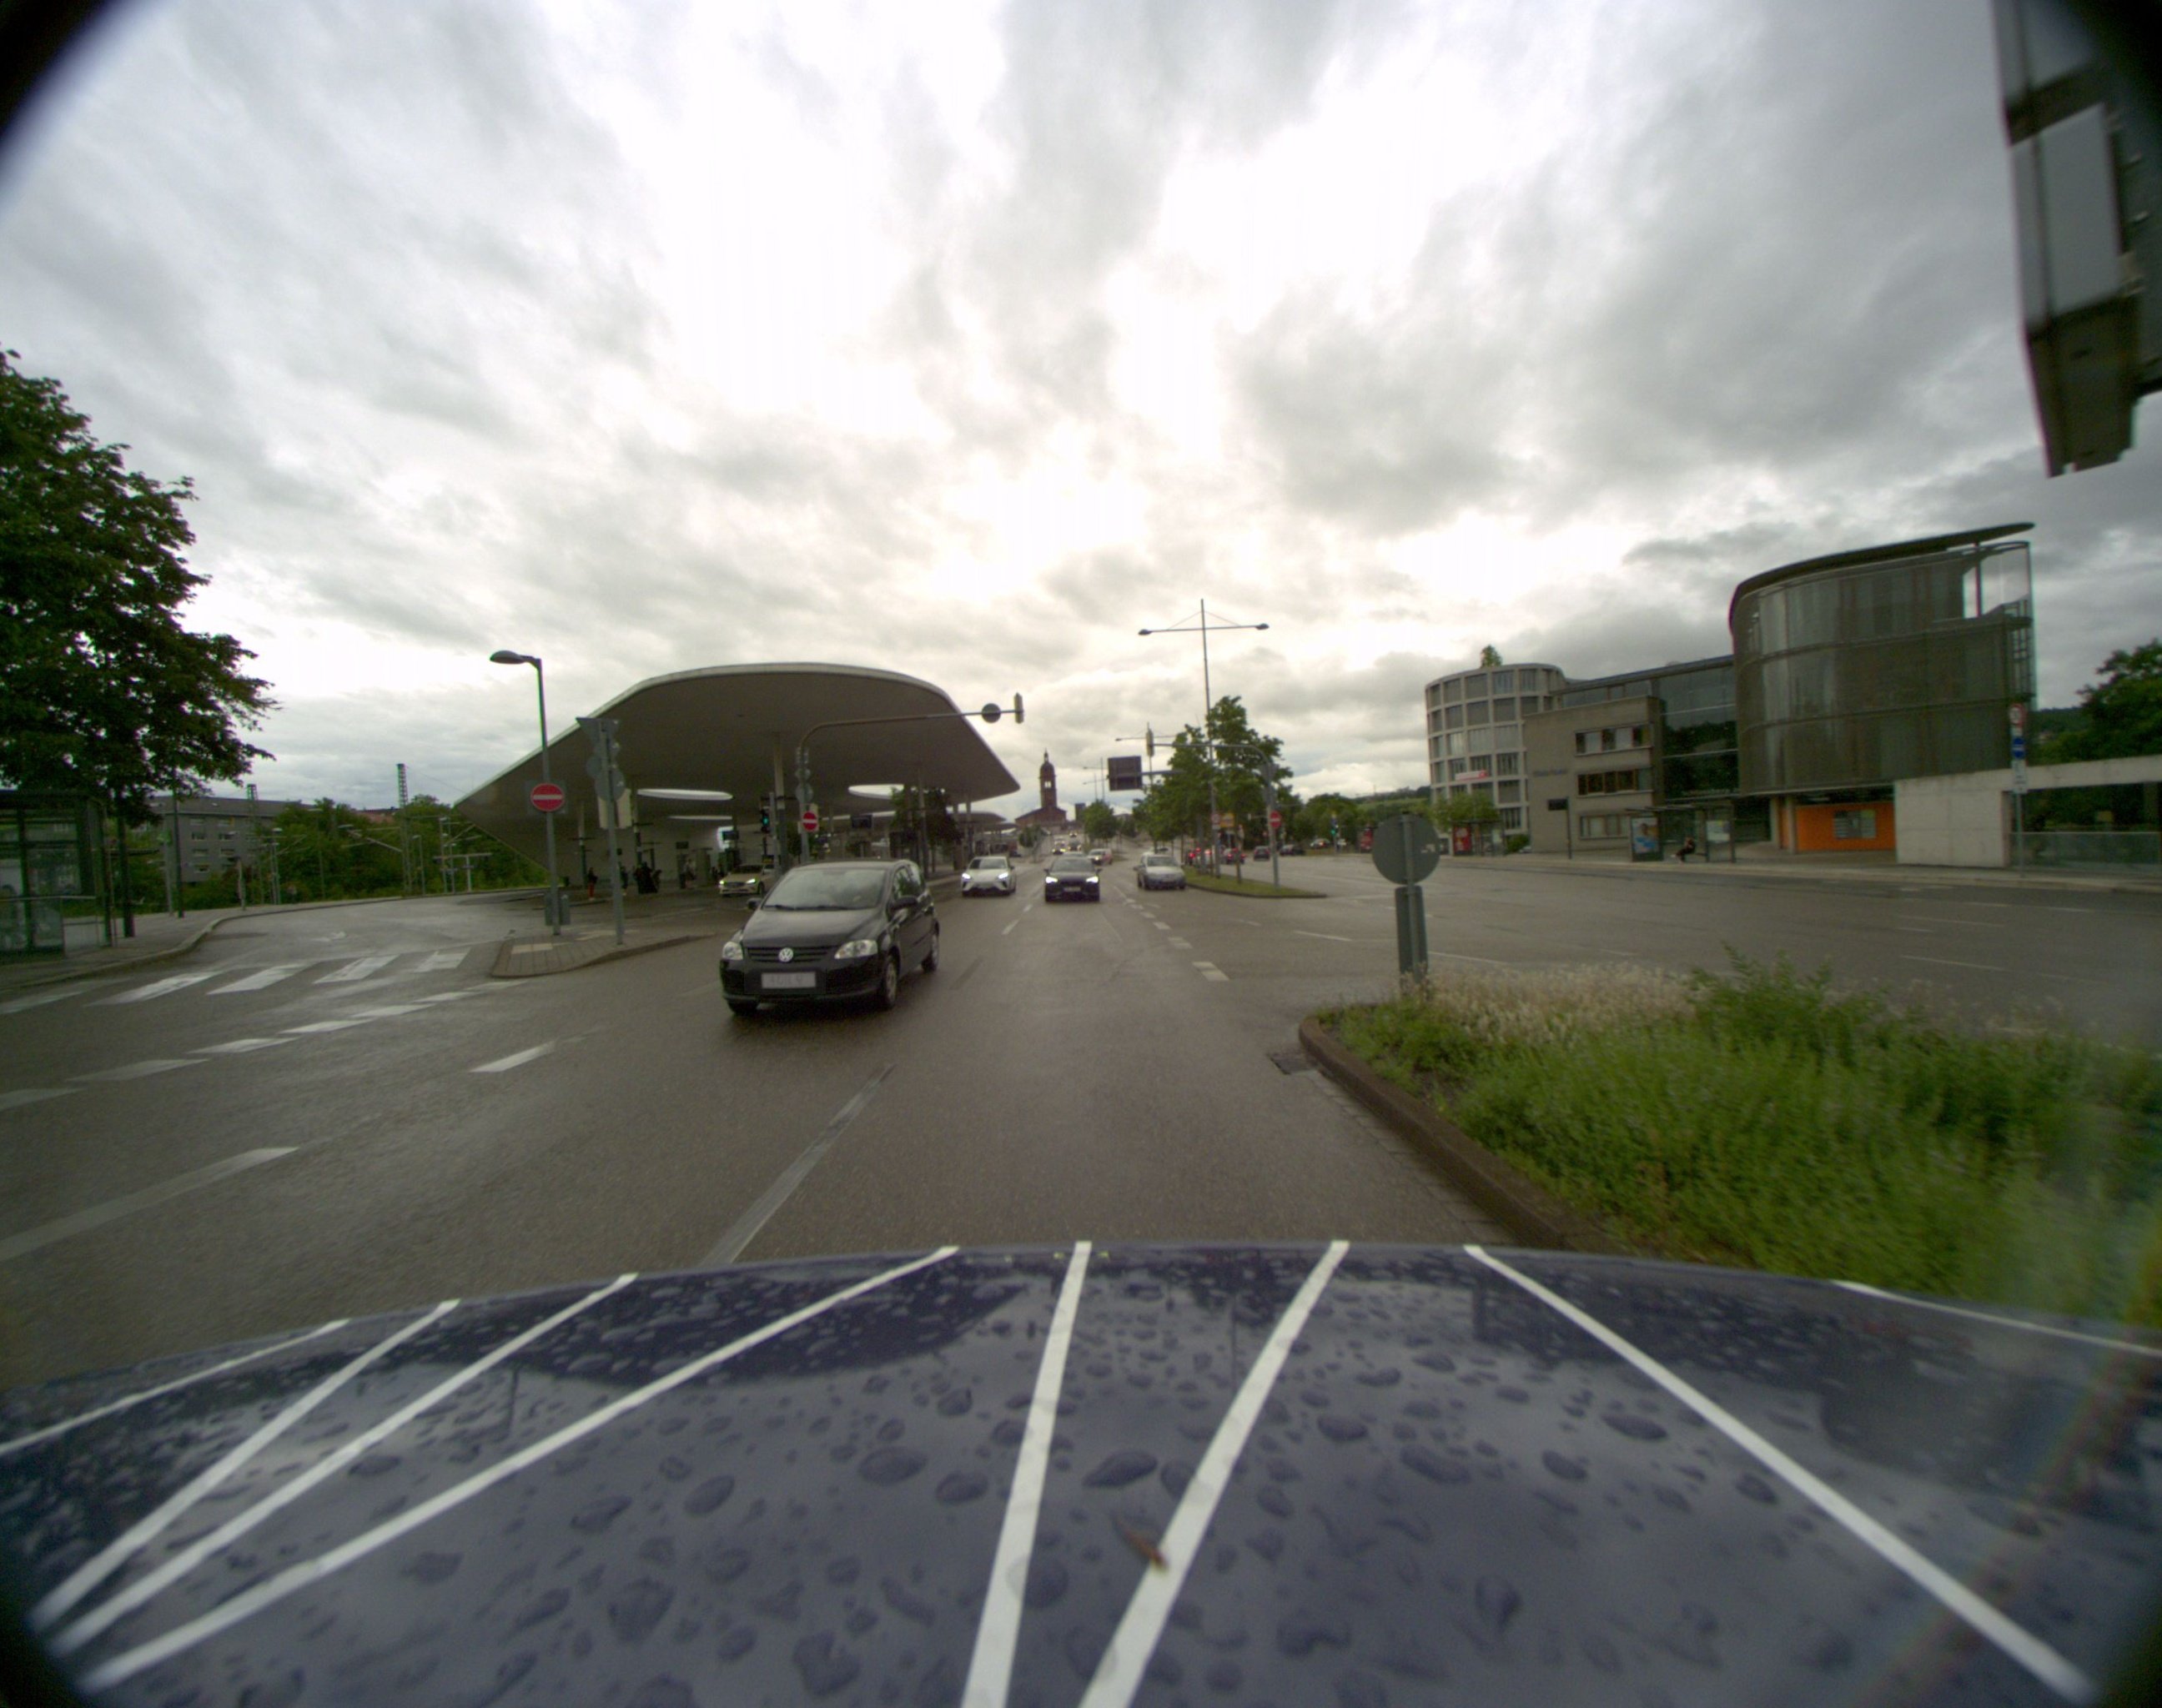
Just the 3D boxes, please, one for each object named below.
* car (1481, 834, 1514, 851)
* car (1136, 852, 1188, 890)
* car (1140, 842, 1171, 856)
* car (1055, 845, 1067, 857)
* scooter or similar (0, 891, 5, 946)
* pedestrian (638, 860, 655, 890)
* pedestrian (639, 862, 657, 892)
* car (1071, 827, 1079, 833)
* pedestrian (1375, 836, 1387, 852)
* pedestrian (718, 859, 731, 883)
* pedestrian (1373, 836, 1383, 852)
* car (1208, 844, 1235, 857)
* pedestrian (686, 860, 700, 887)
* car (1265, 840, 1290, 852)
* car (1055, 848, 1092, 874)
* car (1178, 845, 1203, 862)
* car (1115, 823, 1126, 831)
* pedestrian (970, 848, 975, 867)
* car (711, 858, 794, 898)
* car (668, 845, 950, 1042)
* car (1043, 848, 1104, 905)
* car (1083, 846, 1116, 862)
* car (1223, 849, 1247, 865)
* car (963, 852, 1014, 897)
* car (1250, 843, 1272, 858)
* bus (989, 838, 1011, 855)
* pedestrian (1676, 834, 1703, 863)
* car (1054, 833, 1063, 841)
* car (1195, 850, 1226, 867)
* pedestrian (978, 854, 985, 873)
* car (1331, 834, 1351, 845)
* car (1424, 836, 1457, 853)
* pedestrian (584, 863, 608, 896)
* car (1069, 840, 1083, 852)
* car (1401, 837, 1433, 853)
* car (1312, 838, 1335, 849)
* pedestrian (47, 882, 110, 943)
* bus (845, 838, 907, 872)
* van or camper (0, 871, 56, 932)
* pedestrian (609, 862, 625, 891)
[{"bbox_3d":[43.334,-1.242,79.026,4.165,1.692,1.871,-2,2,-45],"label":"car"},{"bbox_3d":[3.352,0.671,32.118,1.699,1.457,3.719,-1,1,-1],"label":"car"},{"bbox_3d":[9.226,-0.677,93.823,1.871,1.625,4.293,0,1,38],"label":"car"},{"bbox_3d":[-3.509,-0.458,131.164,1.999,2.002,3.999,-1,1,-1],"label":"car"},{"bbox_3d":[-22.968,1.387,15.701,0.334,1.175,1.301,-2,2,-33],"label":"scooter or similar"},{"bbox_3d":[-22.268,1.056,38.967,0.534,1.505,0.479,-2,1,5],"label":"pedestrian"},{"bbox_3d":[-21.747,1.159,38.178,0.534,1.505,0.479,-2,1,5],"label":"pedestrian"},{"bbox_3d":[-1.578,-6.446,201.523,1.649,1.552,3.647,-1,1,-5],"label":"car"},{"bbox_3d":[29.258,-0.976,74.178,0.983,1.482,0.735,-1,2,10],"label":"pedestrian"},{"bbox_3d":[-22.167,1.062,47.279,0.478,1.505,0.535,-2,1,4],"label":"pedestrian"},{"bbox_3d":[29.382,-0.995,75.136,0.732,1.482,0.734,-1,2,8],"label":"pedestrian"},{"bbox_3d":[19.206,-0.501,103.834,1.871,1.624,4.166,-1,1,40],"label":"car"},{"bbox_3d":[-22.134,1.130,43.336,0.478,1.505,0.535,-2,1,4],"label":"pedestrian"},{"bbox_3d":[29.316,-1.156,113.445,1.889,1.704,4.226,0,2,40],"label":"car"},{"bbox_3d":[-0.567,0.410,51.747,1.877,1.625,4.297,-1,1,-9],"label":"car"},{"bbox_3d":[10.558,-0.056,73.398,2.009,1.545,4.164,-1,1,3],"label":"car"},{"bbox_3d":[8.545,-5.846,165.143,1.874,1.624,4.159,-1,1,9],"label":"car"},{"bbox_3d":[-10.354,0.321,72.485,0.445,1.754,0.537,-2,1,-7],"label":"pedestrian"},{"bbox_3d":[-15.781,1.107,36.817,1.998,1.671,4.541,-1,1,0],"label":"car"},{"bbox_3d":[-2.780,0.776,8.873,1.876,1.692,4.155,-1,1,-2],"label":"car"},{"bbox_3d":[-0.307,0.682,25.819,1.876,1.692,4.156,-1,1,-2],"label":"car"},{"bbox_3d":[2.037,-0.011,82.173,1.872,1.625,4.164,0,1,29],"label":"car"},{"bbox_3d":[14.894,0.297,73.700,1.698,1.457,4.452,-1,1,3],"label":"car"},{"bbox_3d":[-3.626,0.745,29.736,1.812,1.550,4.046,-1,1,-7],"label":"car"},{"bbox_3d":[19.366,-0.395,81.894,1.681,1.503,3.863,-1,1,3],"label":"car"},{"bbox_3d":[-15.692,-1.497,146.576,3.585,3.080,10.745,-2,1,-9],"label":"bus"},{"bbox_3d":[28.288,-0.257,35.324,0.668,1.292,0.720,-1,1,5],"label":"pedestrian"},{"bbox_3d":[-4.600,-3.500,156.217,1.649,1.552,3.647,-1,1,-5],"label":"car"},{"bbox_3d":[11.172,0.356,66.029,2.010,1.345,4.164,-1,1,0],"label":"car"},{"bbox_3d":[-9.500,0.914,72.632,0.446,1.754,0.536,-2,1,-19],"label":"pedestrian"},{"bbox_3d":[45.493,-2.571,132.856,1.994,1.871,4.008,0,2,38],"label":"car"},{"bbox_3d":[39.158,-1.032,82.748,4.165,1.692,1.871,-2,2,-45],"label":"car"},{"bbox_3d":[-23.878,1.267,37.410,0.641,1.586,0.741,0,2,14],"label":"pedestrian"},{"bbox_3d":[-0.920,-1.438,133.762,1.999,2.002,3.997,-1,1,-5],"label":"car"},{"bbox_3d":[37.453,-1.039,84.587,4.165,1.692,1.871,-2,2,-45],"label":"car"},{"bbox_3d":[37.952,-1.643,118.814,1.889,1.704,4.226,0,2,42],"label":"car"},{"bbox_3d":[-28.539,1.659,21.641,0.721,1.658,0.798,-1,2,10],"label":"pedestrian"},{"bbox_3d":[-20.205,-0.010,75.811,2.876,3.065,11.918,-1,1,0],"label":"bus"},{"bbox_3d":[-45.218,1.997,29.775,1.998,2.419,5.863,-1,1,0],"label":"van or camper"},{"bbox_3d":[-24.157,1.169,39.575,0.533,1.505,0.480,-1,1,35],"label":"pedestrian"}]
